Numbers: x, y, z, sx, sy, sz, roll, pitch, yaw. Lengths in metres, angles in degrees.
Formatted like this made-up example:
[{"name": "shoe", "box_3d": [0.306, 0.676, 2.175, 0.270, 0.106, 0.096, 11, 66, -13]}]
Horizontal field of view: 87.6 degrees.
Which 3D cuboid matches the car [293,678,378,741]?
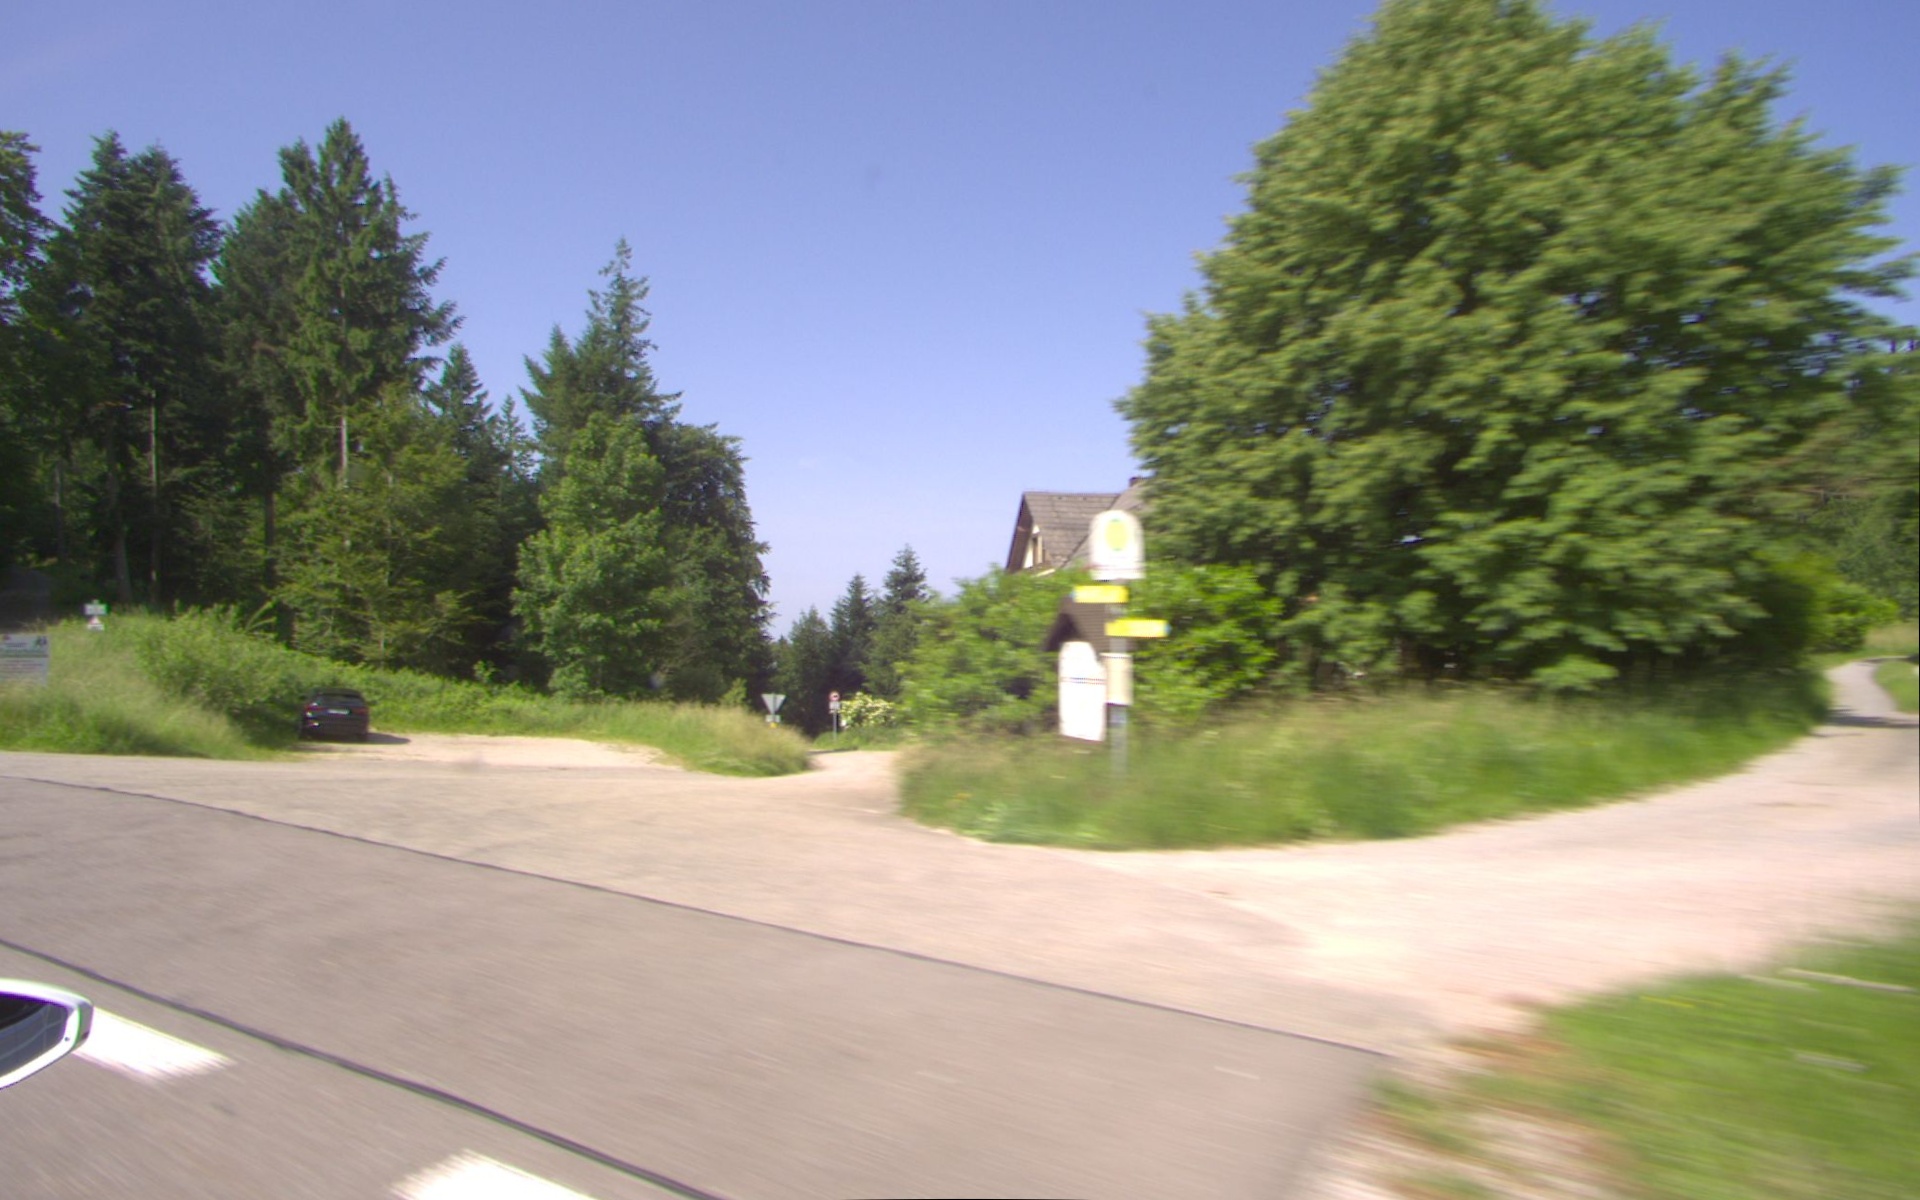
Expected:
[{"name": "car", "box_3d": [-19.686, 3.427, 31.728, 1.913, 1.612, 3.982, 7, -5, -29]}]
